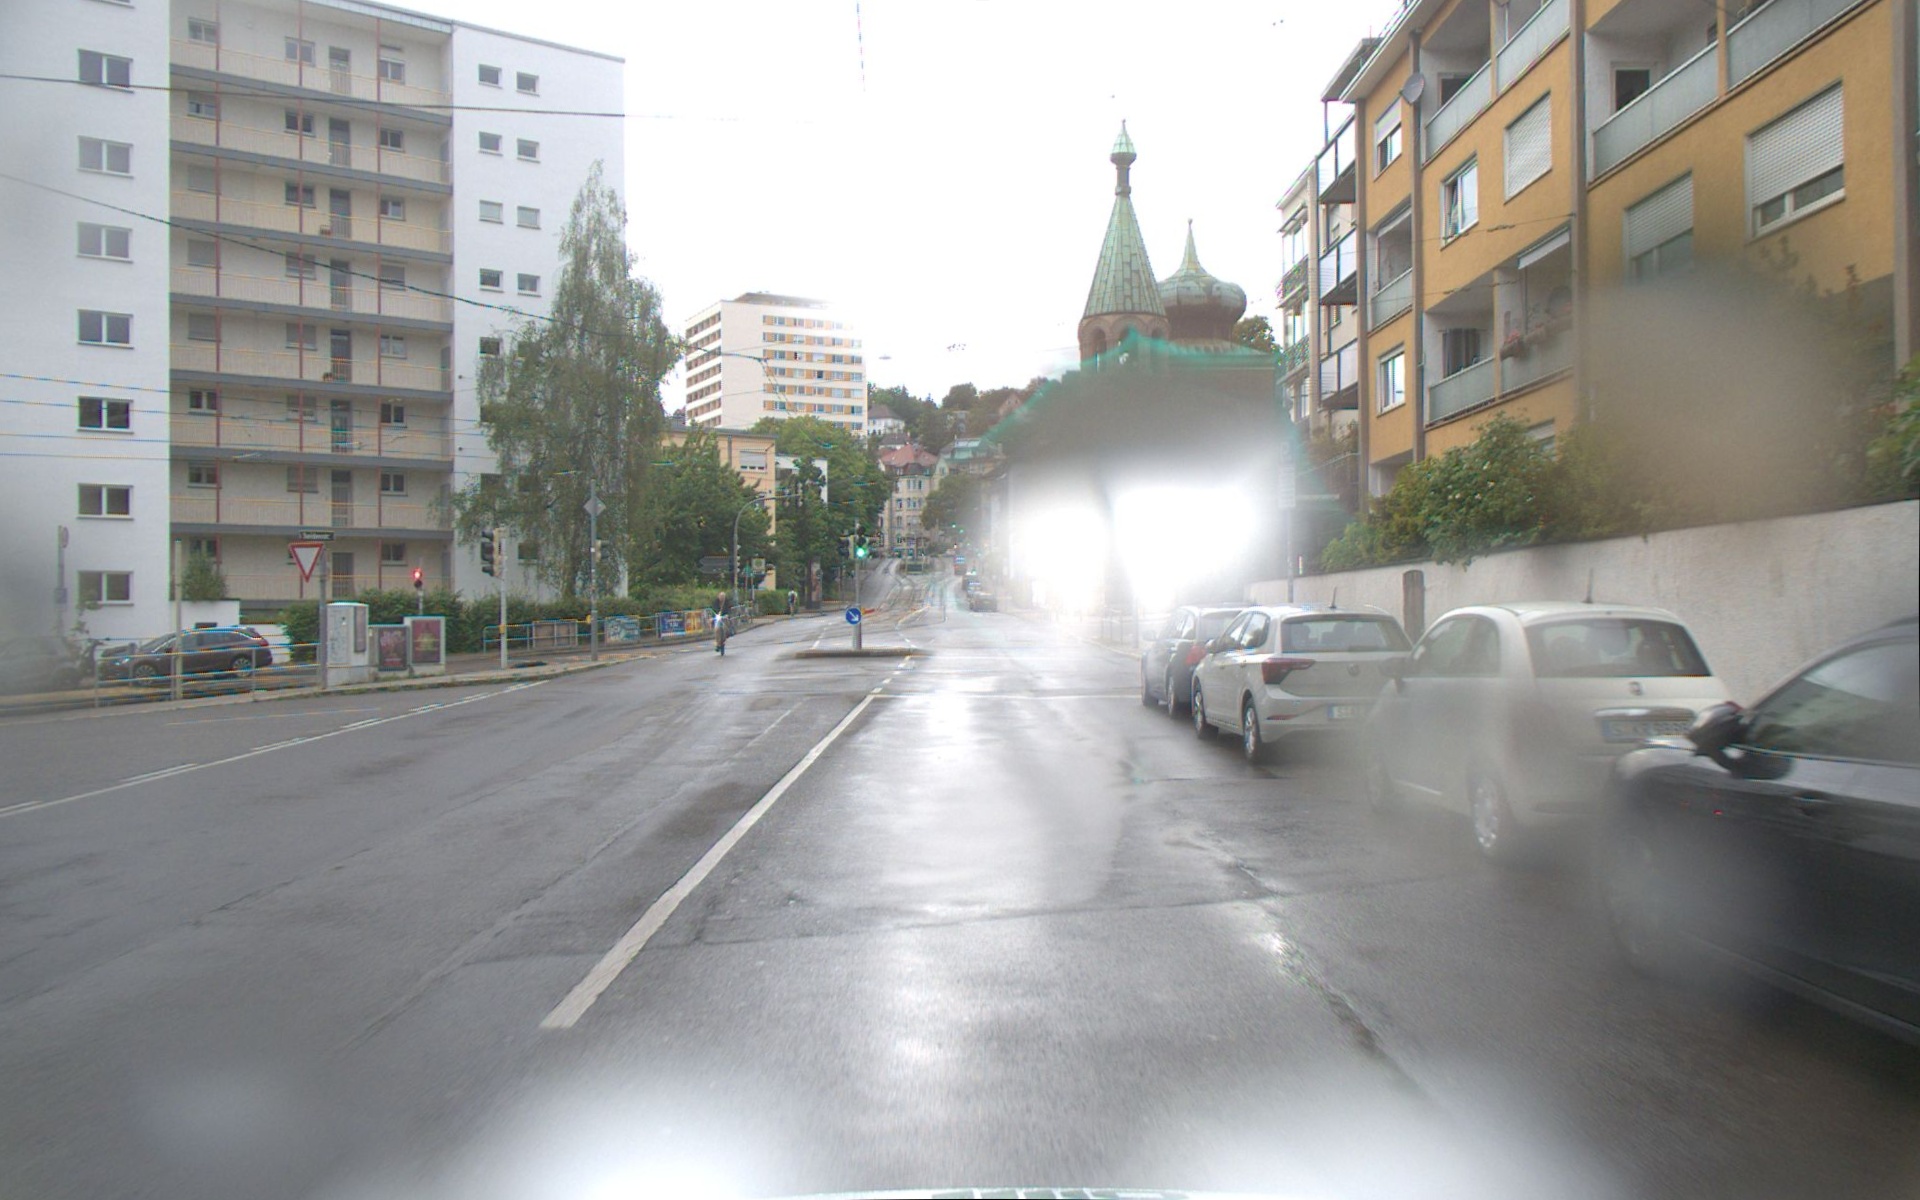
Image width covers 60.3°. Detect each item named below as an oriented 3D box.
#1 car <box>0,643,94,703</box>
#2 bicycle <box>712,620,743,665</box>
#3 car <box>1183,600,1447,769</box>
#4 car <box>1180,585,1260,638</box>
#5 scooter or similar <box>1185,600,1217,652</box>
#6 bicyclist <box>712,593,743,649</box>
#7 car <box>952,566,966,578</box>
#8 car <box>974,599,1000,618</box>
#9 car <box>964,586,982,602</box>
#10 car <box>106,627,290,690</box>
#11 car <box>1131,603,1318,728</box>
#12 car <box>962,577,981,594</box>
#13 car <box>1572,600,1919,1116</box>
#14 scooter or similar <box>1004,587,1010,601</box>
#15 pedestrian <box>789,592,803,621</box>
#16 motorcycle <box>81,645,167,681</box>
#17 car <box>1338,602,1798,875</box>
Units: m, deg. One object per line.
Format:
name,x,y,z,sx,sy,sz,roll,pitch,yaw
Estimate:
car,-25.258,1.971,44.659,1.780,1.416,2.873,-1,2,45
bicycle,-6.224,1.139,44.341,0.808,1.168,2.123,0,-1,-8
car,3.415,0.794,16.653,1.614,1.485,4.100,0,-1,-3
car,8.416,0.403,53.780,1.816,1.529,4.448,-3,-2,0
scooter or similar,6.588,0.688,45.209,0.524,1.350,1.659,-5,0,0
bicyclist,-6.233,0.565,44.364,0.808,1.487,1.138,1,-1,-8
car,-0.132,-3.843,226.770,1.764,1.674,4.001,0,0,1
car,2.177,0.667,133.919,1.820,1.513,4.643,0,0,-2
car,1.364,-0.646,170.382,1.670,1.458,4.101,1,2,-2
car,-21.983,1.679,47.824,1.843,1.486,4.461,-3,0,45
car,3.395,0.830,21.986,1.695,1.485,4.476,0,-1,-1
car,1.291,-1.632,186.795,1.868,1.670,4.689,1,2,-2
car,3.639,0.739,4.988,1.872,1.451,4.450,0,-1,-1
scooter or similar,4.874,-0.617,171.067,0.562,1.270,1.612,0,4,4
pedestrian,-10.945,0.458,110.407,0.901,1.878,1.016,1,-1,-5
motorcycle,-25.468,1.913,50.386,2.218,0.956,0.766,-2,2,-44
car,3.735,0.798,10.824,1.652,1.479,3.553,0,-1,-1
